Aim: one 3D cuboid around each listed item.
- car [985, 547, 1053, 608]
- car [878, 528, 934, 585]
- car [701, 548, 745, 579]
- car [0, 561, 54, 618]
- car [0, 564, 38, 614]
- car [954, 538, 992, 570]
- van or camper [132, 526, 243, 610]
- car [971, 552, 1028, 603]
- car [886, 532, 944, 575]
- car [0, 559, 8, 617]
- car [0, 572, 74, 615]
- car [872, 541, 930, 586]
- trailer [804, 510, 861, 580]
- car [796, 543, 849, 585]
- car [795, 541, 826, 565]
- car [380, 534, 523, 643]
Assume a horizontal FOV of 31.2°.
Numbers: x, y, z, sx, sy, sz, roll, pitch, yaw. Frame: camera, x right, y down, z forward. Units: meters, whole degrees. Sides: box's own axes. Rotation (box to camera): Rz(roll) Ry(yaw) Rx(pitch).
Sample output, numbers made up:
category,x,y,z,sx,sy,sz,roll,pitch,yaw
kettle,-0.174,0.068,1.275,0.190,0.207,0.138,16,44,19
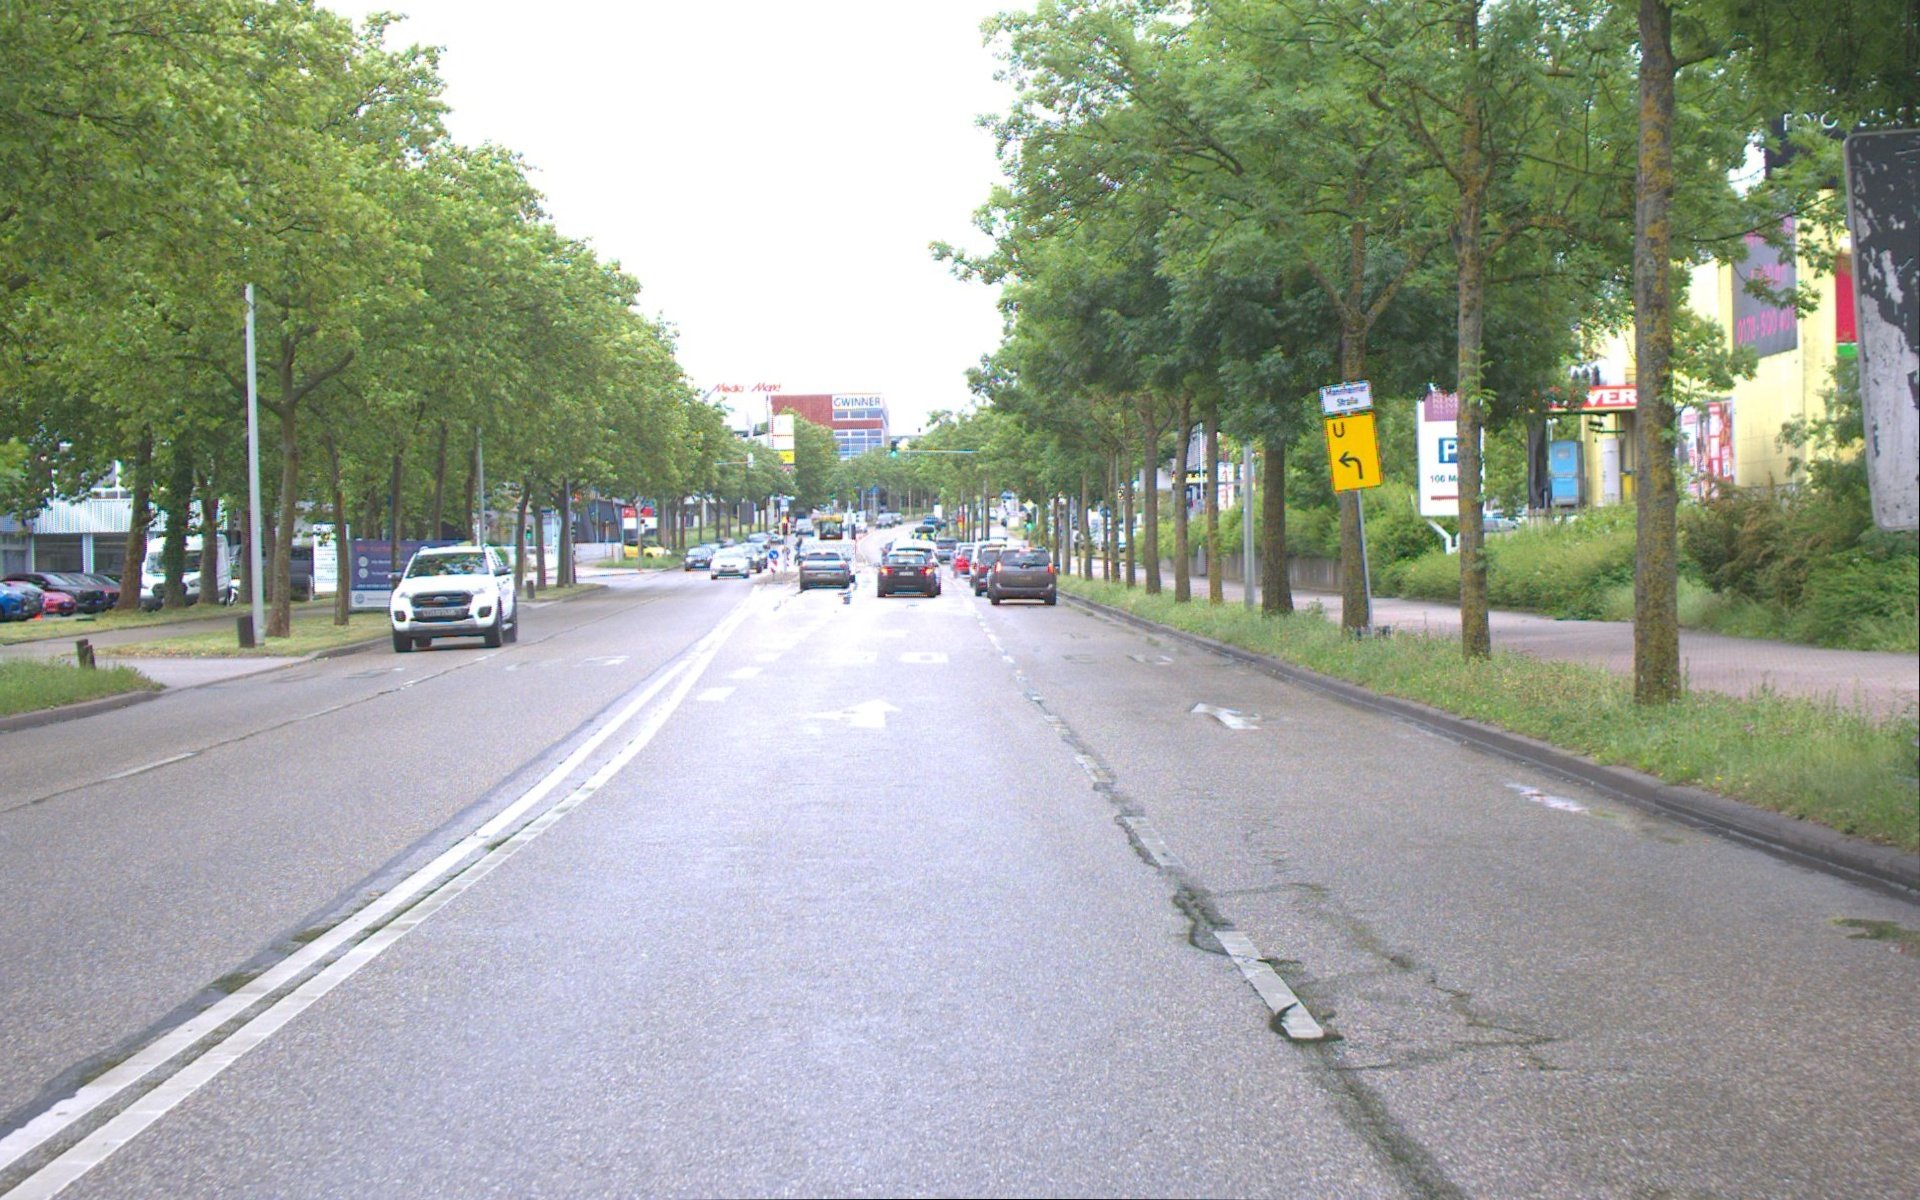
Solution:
category,x,y,z,sx,sy,sz,roll,pitch,yaw
car,1.635,-0.651,96.266,1.726,1.619,4.471,-1,1,-1
car,-1.963,-1.552,124.497,1.993,2.007,4.000,1,0,-1
car,-11.632,-1.791,168.683,1.993,1.424,4.686,-2,1,-6
car,-31.097,-0.320,109.370,3.990,1.761,1.864,-1,1,15
car,-30.929,-0.325,106.798,3.989,1.515,1.864,-1,1,14
car,0.592,-2.165,160.973,1.695,1.438,3.989,-1,1,-1
van or camper,-23.501,-1.004,104.845,1.993,2.462,6.401,0,1,-1
car,1.310,-0.771,115.376,1.801,1.581,4.451,1,1,-1
car,-1.542,-1.593,116.671,1.682,1.372,4.001,-1,1,-5
car,-31.137,-0.329,104.186,3.989,1.761,1.864,-1,1,14
car,-33.030,-0.212,119.562,3.989,1.462,1.599,-1,1,11
car,-1.891,-1.175,109.697,1.781,1.393,4.000,0,1,-2
trailer,-5.500,-2.377,147.907,2.372,2.887,5.546,-1,1,-2
car,-5.289,-1.408,132.988,1.907,1.573,4.881,-1,1,-1
car,-8.976,-2.843,205.872,1.682,1.372,4.001,-1,1,-5
car,-9.048,-0.238,61.519,1.911,1.799,5.342,-2,1,-2
